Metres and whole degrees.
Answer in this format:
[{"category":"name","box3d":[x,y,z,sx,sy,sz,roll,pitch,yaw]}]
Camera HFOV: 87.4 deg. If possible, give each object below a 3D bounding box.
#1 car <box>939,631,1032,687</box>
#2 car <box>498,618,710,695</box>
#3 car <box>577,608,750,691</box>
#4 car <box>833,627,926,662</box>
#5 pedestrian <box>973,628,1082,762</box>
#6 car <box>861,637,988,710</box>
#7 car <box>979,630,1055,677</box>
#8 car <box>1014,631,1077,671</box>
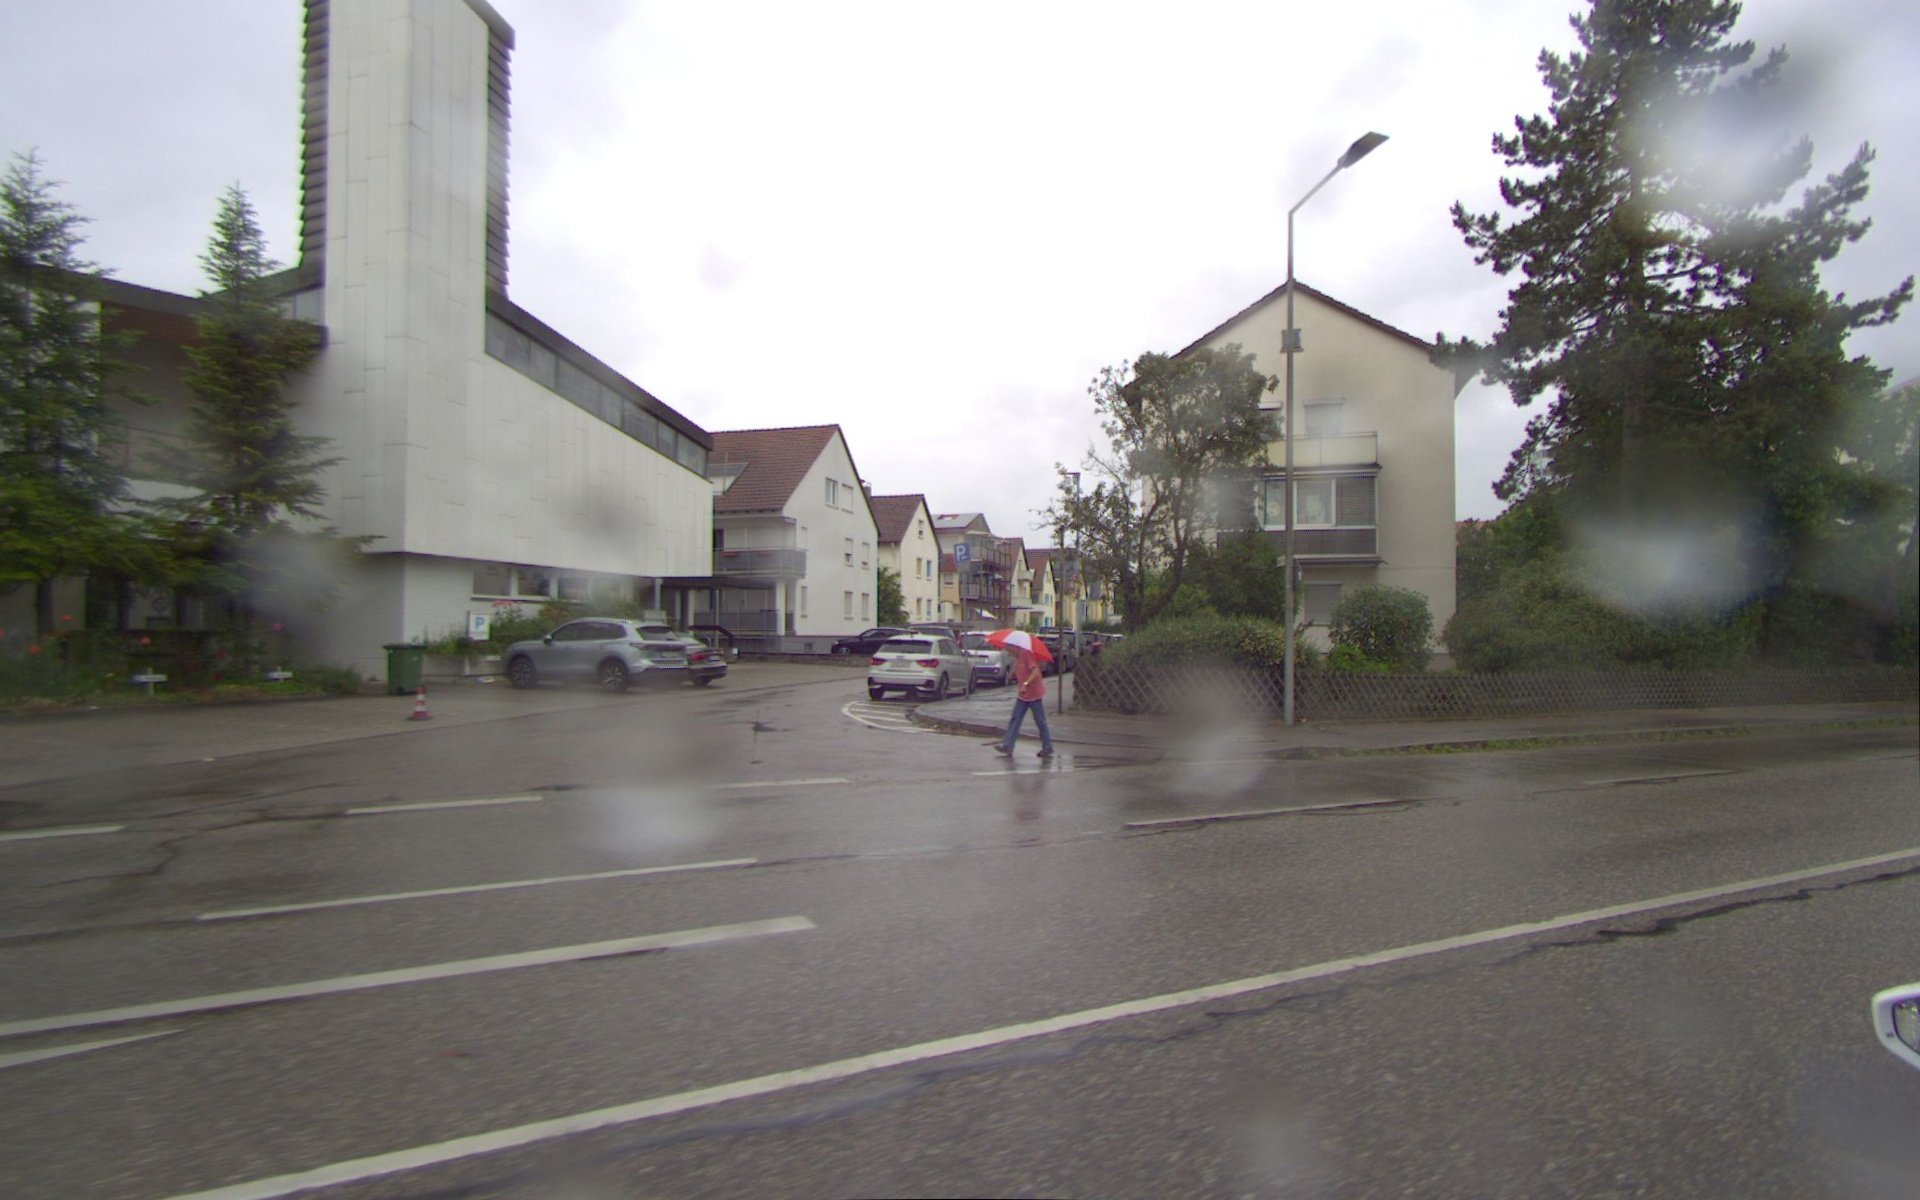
[{"category":"car","box3d":[0.798,1.634,28.746,1.751,1.466,3.824,0,-2,16]},{"category":"car","box3d":[-8.240,1.259,23.308,4.302,1.636,2.132,0,-2,22]},{"category":"car","box3d":[-7.706,1.265,26.185,3.922,2.040,2.000,-1,-2,22]},{"category":"car","box3d":[-3.584,1.957,44.796,3.746,1.466,1.787,0,-2,19]},{"category":"pedestrian","box3d":[0.866,1.184,12.920,1.092,1.628,0.864,2,-2,-34]},{"category":"car","box3d":[-0.707,1.618,23.188,1.751,1.466,4.004,0,-2,16]},{"category":"car","box3d":[1.974,1.744,33.707,1.751,1.466,3.824,0,-2,16]},{"category":"car","box3d":[3.381,1.944,39.153,1.751,1.466,3.824,0,-2,16]}]
